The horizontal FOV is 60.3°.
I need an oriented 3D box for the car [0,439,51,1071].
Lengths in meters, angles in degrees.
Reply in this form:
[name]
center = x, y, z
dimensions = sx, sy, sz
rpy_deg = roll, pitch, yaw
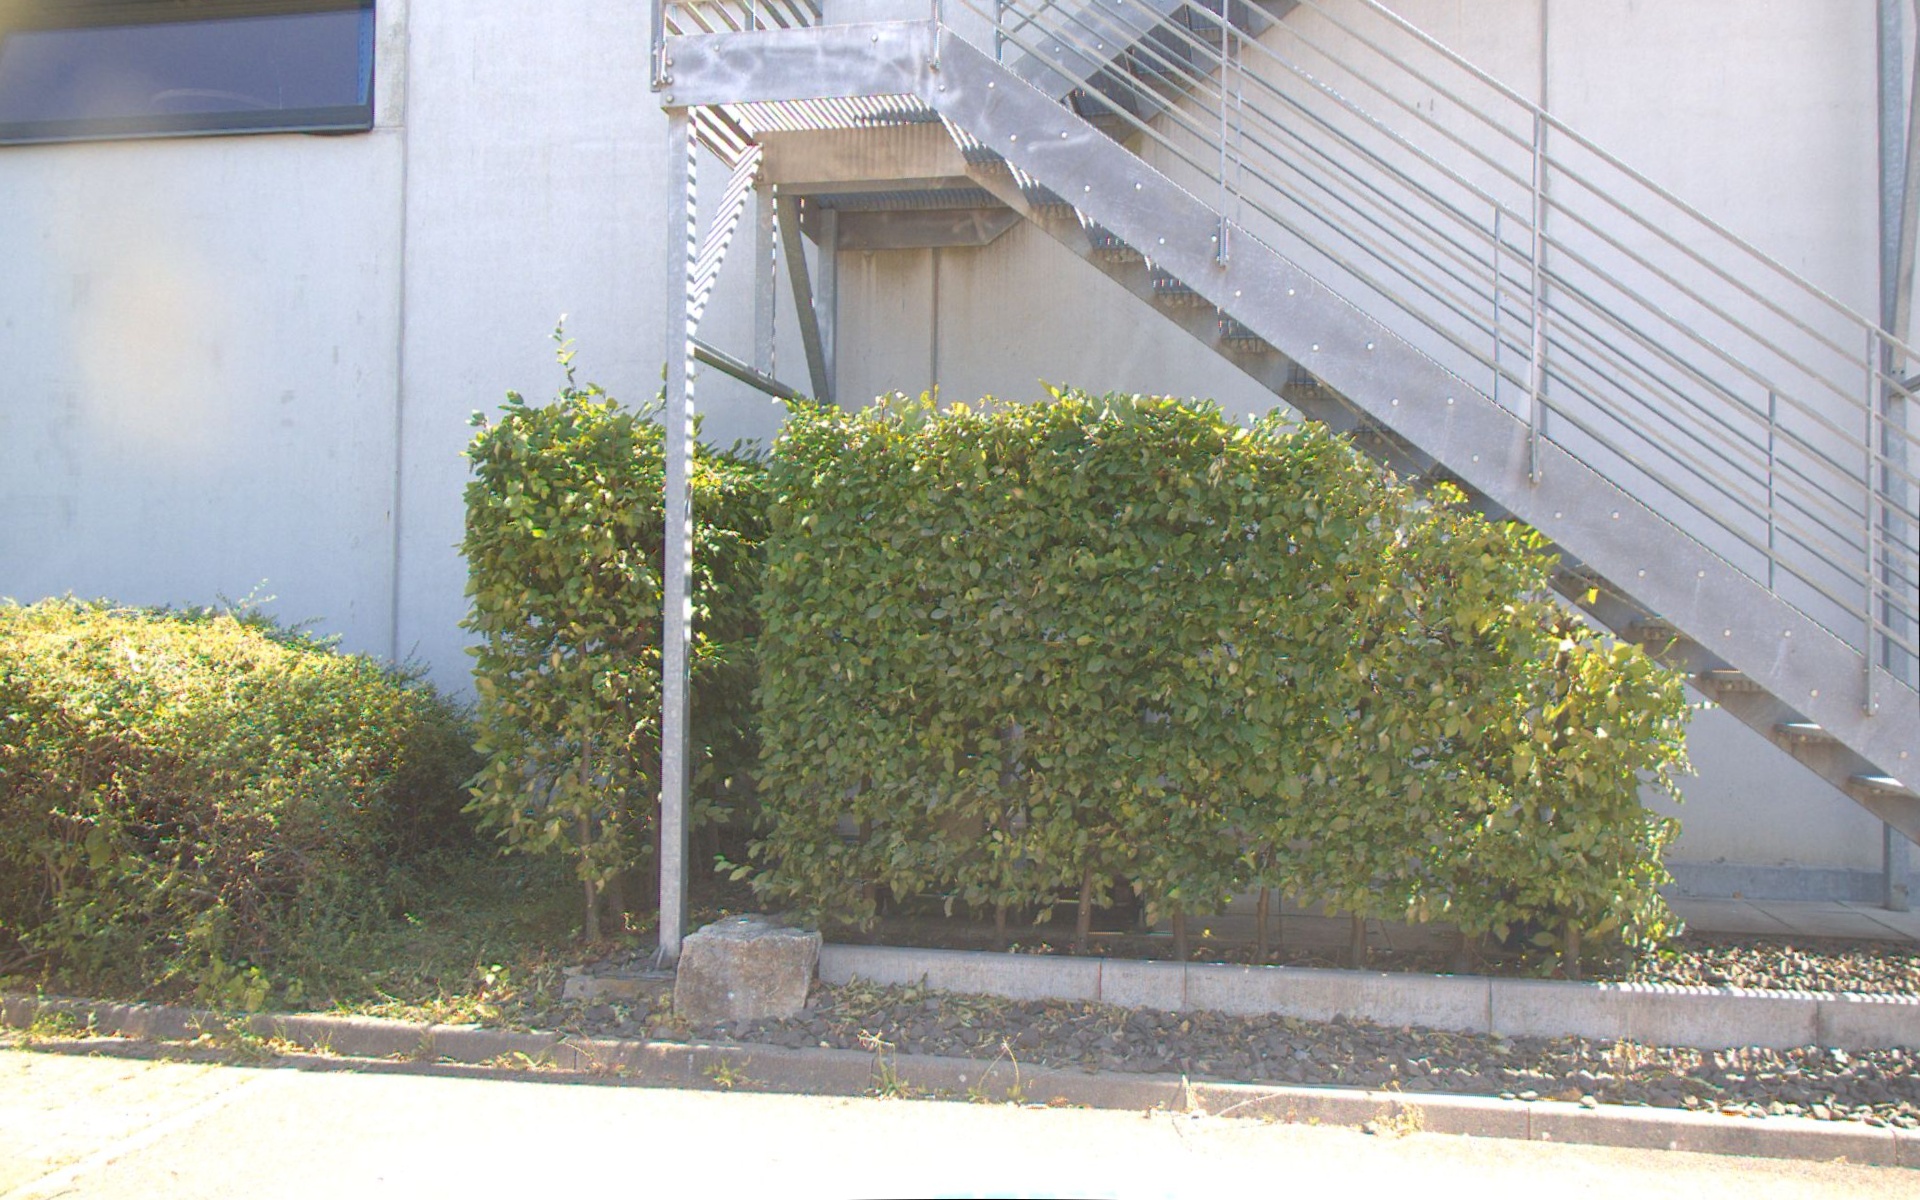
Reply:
[car]
center = -4.981, 0.460, 4.770
dimensions = 3.971, 1.917, 1.680
rpy_deg = 0, 0, 11
